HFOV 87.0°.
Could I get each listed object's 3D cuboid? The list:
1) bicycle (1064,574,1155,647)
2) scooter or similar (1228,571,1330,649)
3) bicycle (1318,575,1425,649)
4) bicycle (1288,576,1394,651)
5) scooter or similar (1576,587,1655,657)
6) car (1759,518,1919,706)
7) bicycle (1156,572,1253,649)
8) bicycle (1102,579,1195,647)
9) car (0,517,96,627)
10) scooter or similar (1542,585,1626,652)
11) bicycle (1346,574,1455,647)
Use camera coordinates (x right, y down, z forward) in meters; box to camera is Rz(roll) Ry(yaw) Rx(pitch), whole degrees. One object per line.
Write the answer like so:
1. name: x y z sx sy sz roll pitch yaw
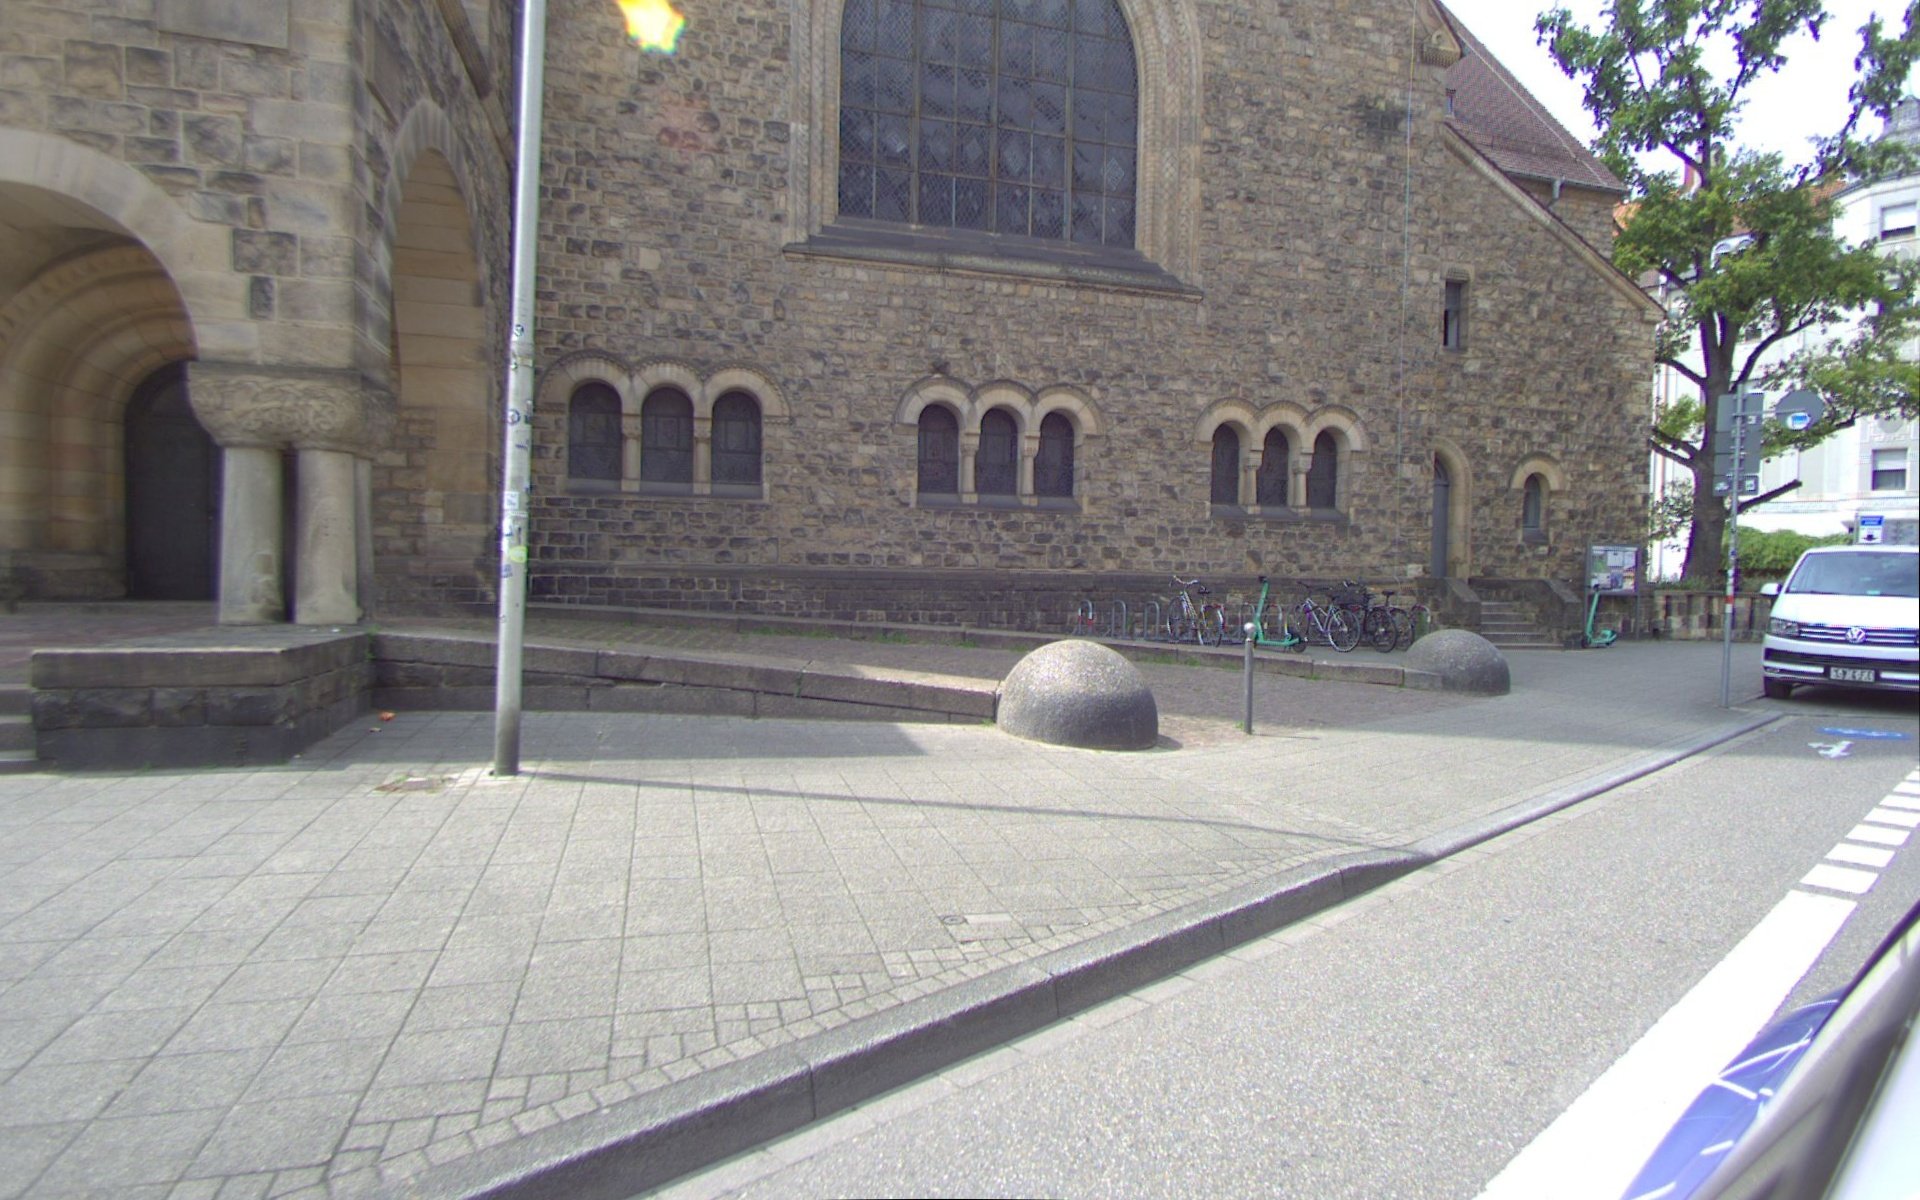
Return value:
1. bicycle: 2.264 0.132 15.531 0.534 0.968 1.787 1 3 -21
2. scooter or similar: 5.060 0.136 16.166 0.534 1.154 1.786 1 2 -21
3. bicycle: 6.754 0.164 16.709 0.534 1.125 1.779 1 2 -21
4. bicycle: 6.182 0.185 16.512 0.534 1.125 1.786 1 2 -21
5. scooter or similar: 12.035 0.391 18.571 1.413 1.222 0.547 1 1 -27
6. car: 12.123 0.133 13.005 5.035 2.054 2.018 1 2 -42
7. bicycle: 3.813 0.133 15.931 0.534 1.125 1.786 1 2 -21
8. bicycle: 2.898 0.177 15.721 0.534 0.969 1.786 1 2 -21
9. car: -17.284 -0.493 16.595 4.328 1.747 1.956 1 1 -15
10. scooter or similar: 11.865 0.348 19.234 1.450 1.222 0.547 1 1 -20
11. bicycle: 7.342 0.155 16.953 0.534 1.125 1.786 1 2 -21
